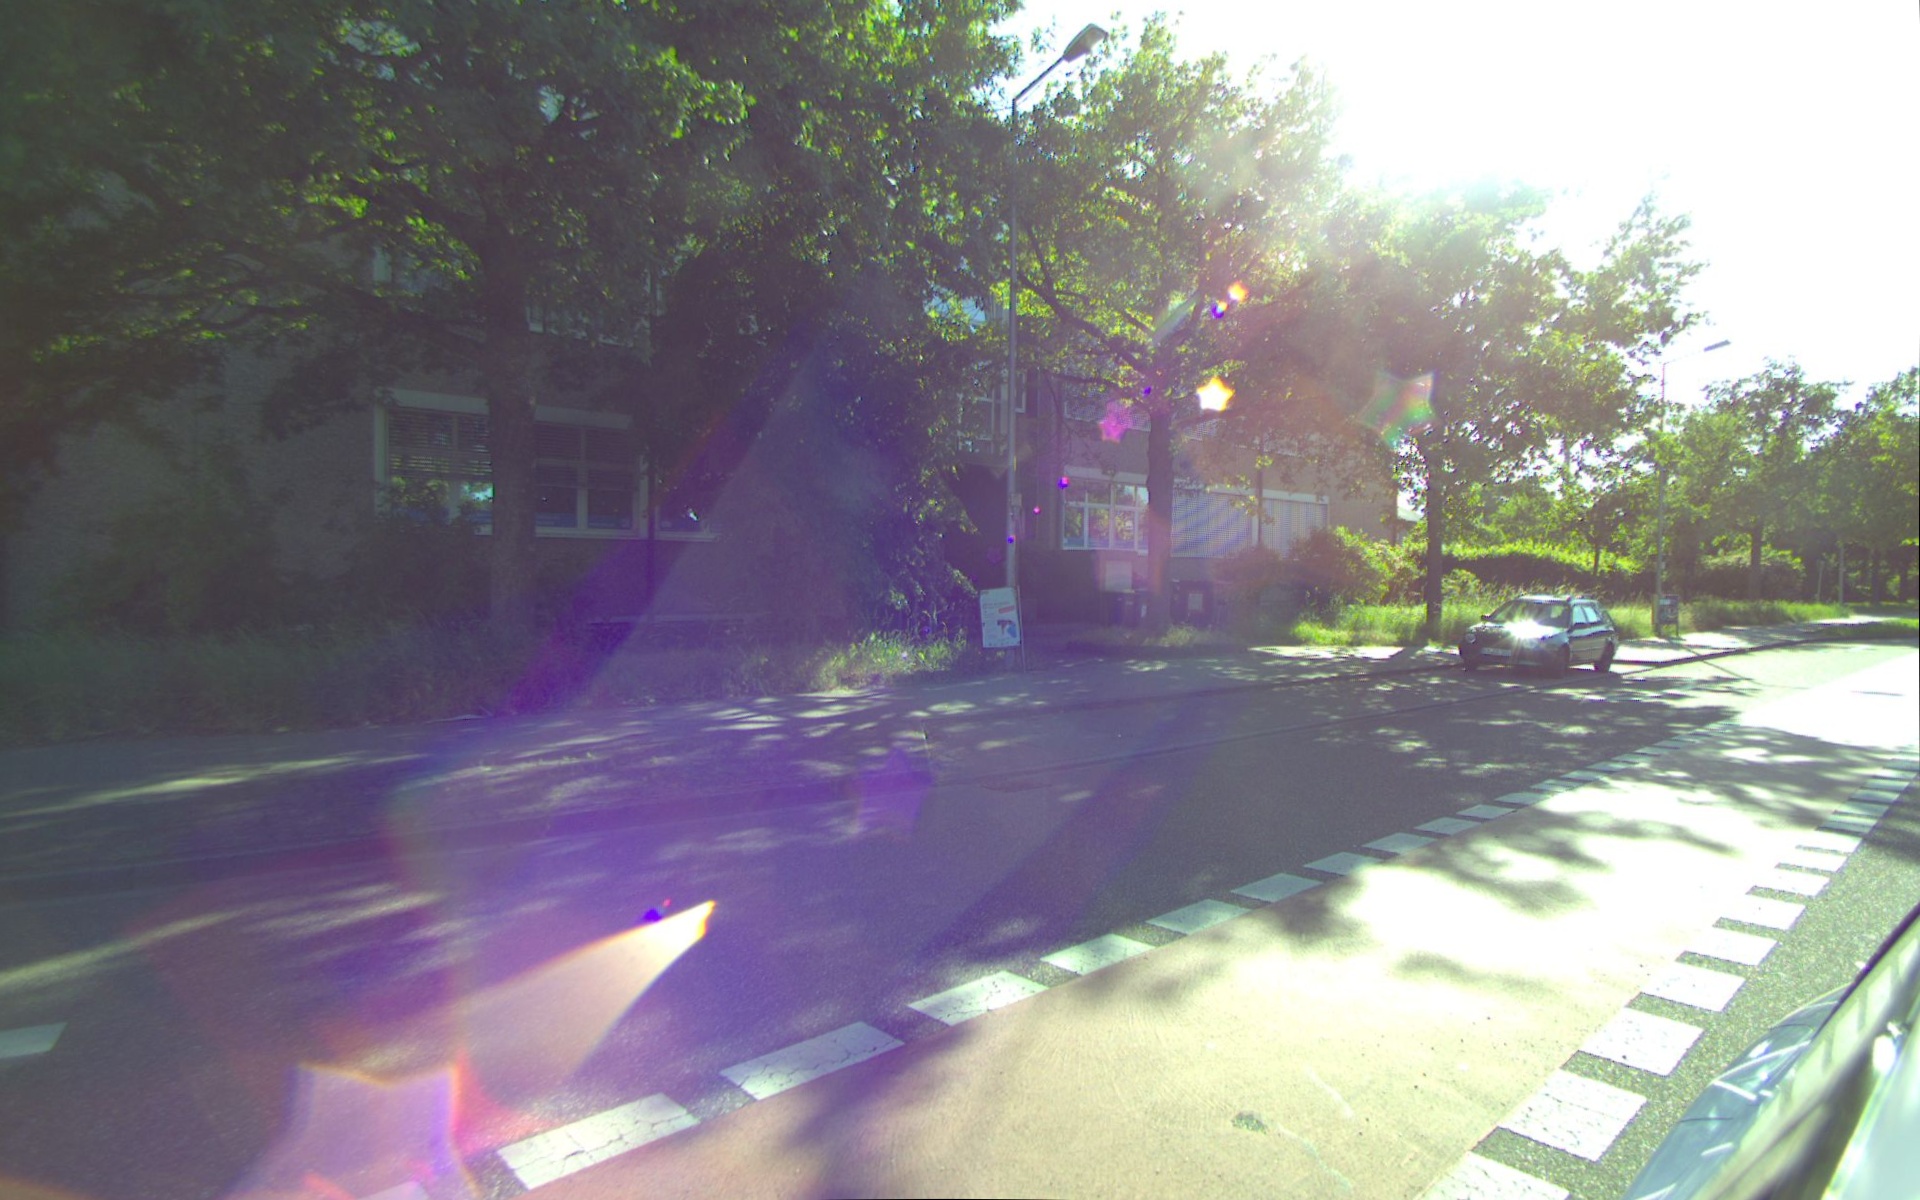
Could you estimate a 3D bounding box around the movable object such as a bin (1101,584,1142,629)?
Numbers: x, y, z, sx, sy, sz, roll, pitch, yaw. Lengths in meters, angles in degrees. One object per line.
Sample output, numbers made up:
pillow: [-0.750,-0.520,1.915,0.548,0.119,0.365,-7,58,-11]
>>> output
movable object such as a bin: [3.886,0.151,24.322,0.683,1.055,0.687,0,0,-41]

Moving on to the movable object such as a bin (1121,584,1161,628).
movable object such as a bin: [4.424,0.131,24.782,0.683,1.055,0.687,0,1,-41]

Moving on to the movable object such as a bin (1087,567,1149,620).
movable object such as a bin: [4.312,-0.192,27.717,0.864,1.396,1.469,0,2,-41]

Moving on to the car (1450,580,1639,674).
car: [11.036,0.415,19.010,4.141,1.504,1.776,-1,3,-41]

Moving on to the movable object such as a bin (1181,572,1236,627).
movable object such as a bin: [6.254,-0.022,25.503,0.782,1.338,1.089,0,1,-41]

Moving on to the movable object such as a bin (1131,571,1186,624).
movable object such as a bin: [5.218,-0.083,26.652,0.782,1.357,1.207,0,2,-41]
